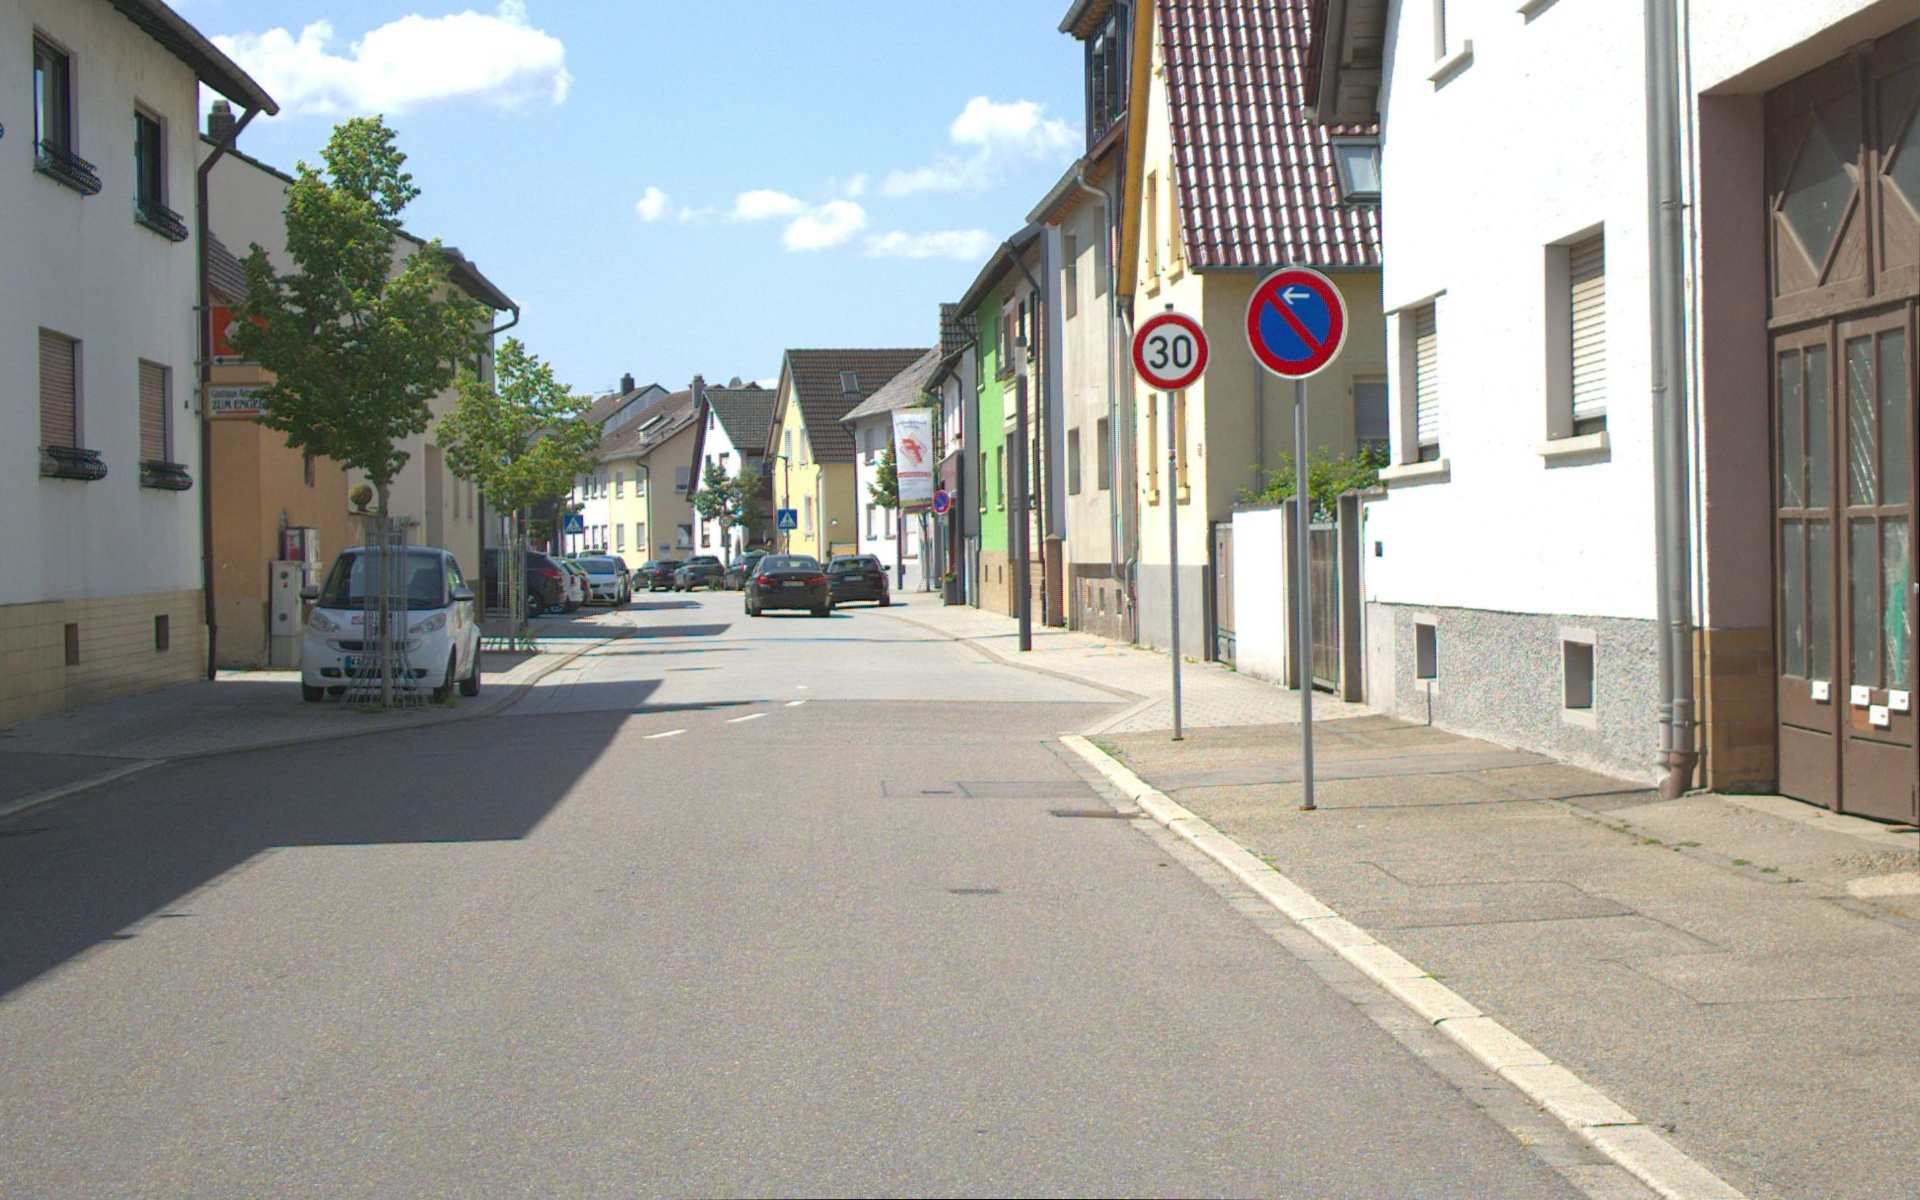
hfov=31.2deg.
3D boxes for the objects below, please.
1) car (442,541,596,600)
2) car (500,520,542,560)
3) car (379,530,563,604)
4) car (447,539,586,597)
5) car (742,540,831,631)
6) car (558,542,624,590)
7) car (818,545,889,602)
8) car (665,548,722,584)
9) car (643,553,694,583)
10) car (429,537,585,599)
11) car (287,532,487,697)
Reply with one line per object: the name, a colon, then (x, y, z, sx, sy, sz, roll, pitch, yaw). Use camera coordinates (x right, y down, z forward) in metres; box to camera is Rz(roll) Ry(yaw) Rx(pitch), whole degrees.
car: (-11.936, -0.797, 93.286, 3.986, 1.437, 1.691, 2, 1, -3)
car: (-22.789, -3.124, 178.377, 1.993, 2.007, 4.001, -1, 1, -9)
car: (-11.745, -0.795, 82.744, 4.218, 1.652, 1.785, 1, 1, -4)
car: (-12.372, -0.894, 96.072, 3.691, 1.520, 1.673, 2, 1, -2)
car: (-4.137, -0.370, 81.475, 1.993, 2.051, 4.375, -1, 1, -4)
car: (-11.171, -1.040, 104.228, 1.757, 1.406, 3.878, 1, 1, -3)
car: (-2.939, -0.747, 95.576, 1.858, 1.454, 4.586, -3, 1, -1)
car: (-11.776, -1.504, 151.641, 1.846, 1.557, 3.695, -1, 1, -15)
car: (-13.507, -1.488, 159.110, 1.710, 1.382, 3.707, -1, 1, -15)
car: (-11.945, -0.861, 90.799, 3.900, 1.497, 1.751, 2, 1, -1)
car: (-5.744, 0.121, 34.723, 1.572, 1.556, 2.822, 2, 1, -1)
